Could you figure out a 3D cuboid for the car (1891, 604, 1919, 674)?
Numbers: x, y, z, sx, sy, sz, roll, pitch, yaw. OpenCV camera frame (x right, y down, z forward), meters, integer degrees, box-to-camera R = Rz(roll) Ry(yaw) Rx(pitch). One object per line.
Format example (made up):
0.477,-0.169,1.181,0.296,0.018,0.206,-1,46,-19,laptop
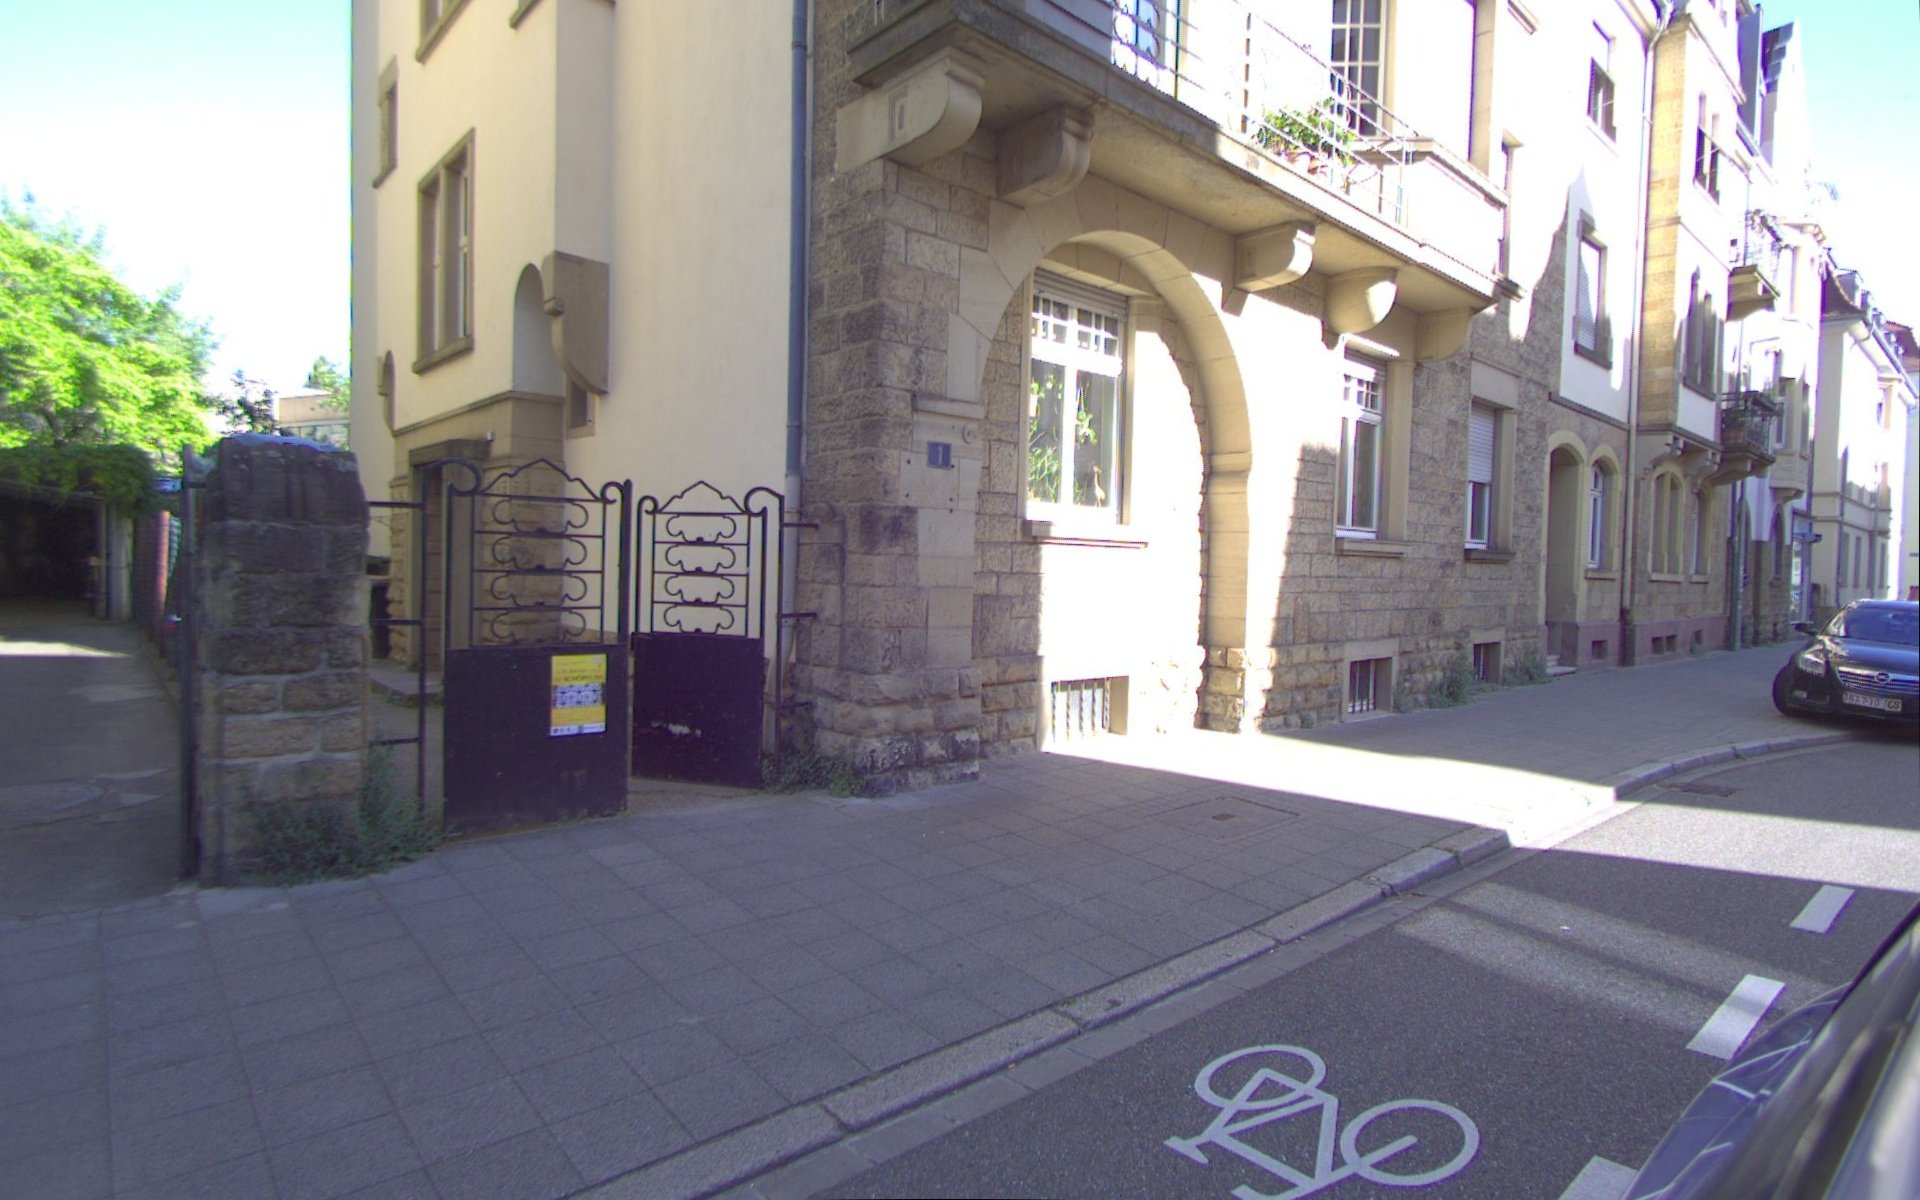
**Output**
19.302,0.739,19.523,3.874,1.270,1.695,0,1,-43,car

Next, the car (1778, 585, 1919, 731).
11.526,0.614,12.246,4.265,1.480,1.869,0,3,-42,car

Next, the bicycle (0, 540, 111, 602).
-18.413,-0.606,20.408,2.834,1.124,0.865,3,2,25,bicycle

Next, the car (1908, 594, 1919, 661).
22.444,0.616,22.560,1.787,1.447,3.746,3,2,44,car

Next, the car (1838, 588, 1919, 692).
15.473,0.594,16.200,4.186,1.460,1.654,0,3,-43,car
